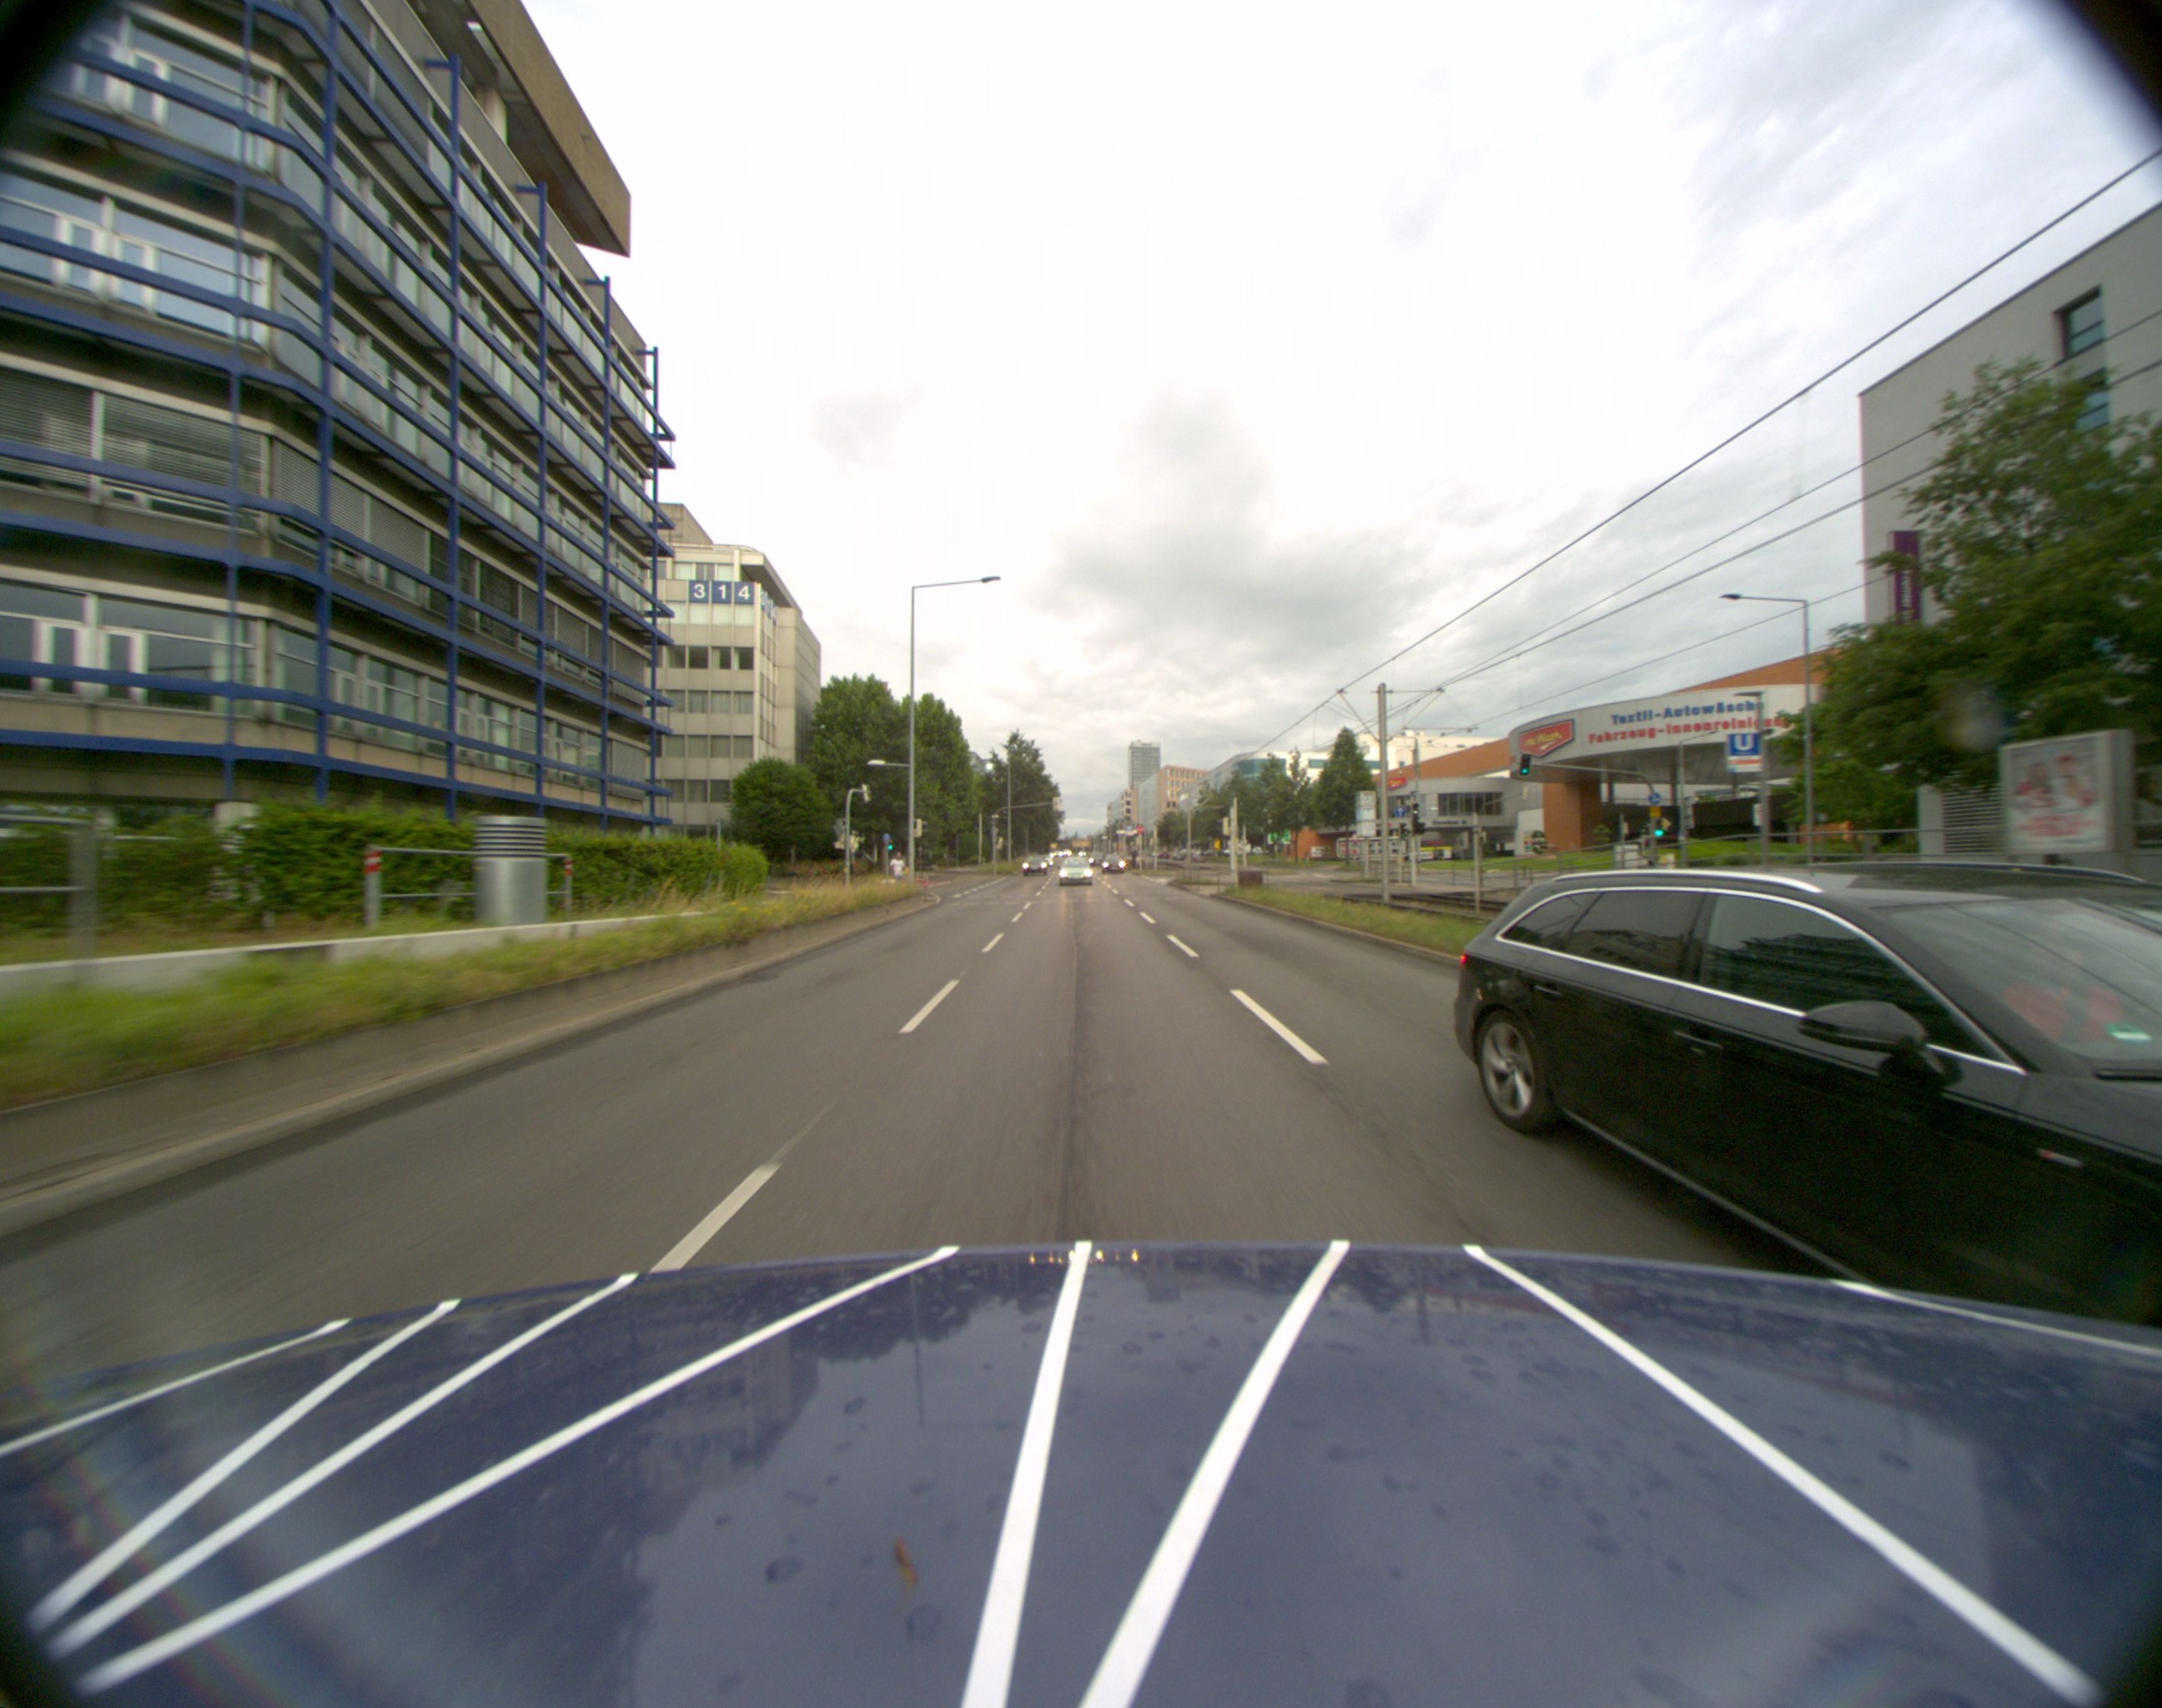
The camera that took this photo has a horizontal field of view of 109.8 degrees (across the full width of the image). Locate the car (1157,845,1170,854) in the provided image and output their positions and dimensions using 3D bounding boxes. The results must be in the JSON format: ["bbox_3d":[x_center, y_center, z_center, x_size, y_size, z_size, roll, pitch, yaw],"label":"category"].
[{"bbox_3d":[16.488,-0.961,152.187,1.999,1.764,4.388,-1,1,-1],"label":"car"}]

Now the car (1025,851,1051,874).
[{"bbox_3d":[-3.400,0.647,60.985,1.816,1.660,4.548,-2,0,-1],"label":"car"}]

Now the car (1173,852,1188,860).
[{"bbox_3d":[17.681,0.302,135.395,1.858,1.419,4.387,1,0,-3],"label":"car"}]

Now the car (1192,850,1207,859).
[{"bbox_3d":[18.305,0.081,117.721,1.733,1.415,3.778,-1,1,-1],"label":"car"}]

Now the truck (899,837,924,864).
[{"bbox_3d":[-16.659,-0.335,74.709,1.751,2.503,3.998,-2,1,-4],"label":"truck"}]

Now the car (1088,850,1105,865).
[{"bbox_3d":[1.823,0.351,88.299,1.781,1.670,4.130,-2,0,-1],"label":"car"}]

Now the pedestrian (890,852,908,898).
[{"bbox_3d":[-6.714,0.756,28.032,0.556,1.643,0.831,-1,1,-10],"label":"pedestrian"}]

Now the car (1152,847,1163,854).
[{"bbox_3d":[19.282,-0.838,192.256,1.999,1.509,4.705,-2,1,-3],"label":"car"}]

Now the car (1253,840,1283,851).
[{"bbox_3d":[38.388,-1.731,155.992,5.483,1.915,2.277,-2,1,-7],"label":"car"}]

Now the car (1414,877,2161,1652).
[{"bbox_3d":[3.083,0.897,2.487,1.795,1.426,4.827,-2,0,-1],"label":"car"}]

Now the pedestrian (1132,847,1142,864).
[{"bbox_3d":[5.261,0.150,71.599,0.704,1.641,0.648,-2,1,-29],"label":"pedestrian"}]

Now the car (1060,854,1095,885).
[{"bbox_3d":[-0.206,0.800,41.398,1.804,1.533,4.373,-2,0,-1],"label":"car"}]

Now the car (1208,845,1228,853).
[{"bbox_3d":[30.612,-1.053,169.628,3.999,1.652,1.921,-3,1,-8],"label":"car"}]

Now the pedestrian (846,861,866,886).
[{"bbox_3d":[-14.091,1.237,47.567,0.901,1.532,0.801,0,1,38],"label":"pedestrian"}]

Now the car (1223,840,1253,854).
[{"bbox_3d":[31.983,-1.348,154.744,5.488,2.614,2.275,-3,1,-18],"label":"car"}]

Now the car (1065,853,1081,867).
[{"bbox_3d":[-0.962,0.713,90.408,1.781,1.552,3.739,-2,0,-1],"label":"car"}]

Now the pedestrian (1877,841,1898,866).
[{"bbox_3d":[65.681,-0.023,61.882,0.886,2.018,0.777,-1,1,-11],"label":"pedestrian"}]

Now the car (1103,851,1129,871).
[{"bbox_3d":[2.747,0.543,60.070,1.799,1.493,3.999,-2,0,0],"label":"car"}]

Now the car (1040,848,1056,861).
[{"bbox_3d":[-4.111,0.094,96.204,1.873,1.533,4.106,-2,0,-1],"label":"car"}]
